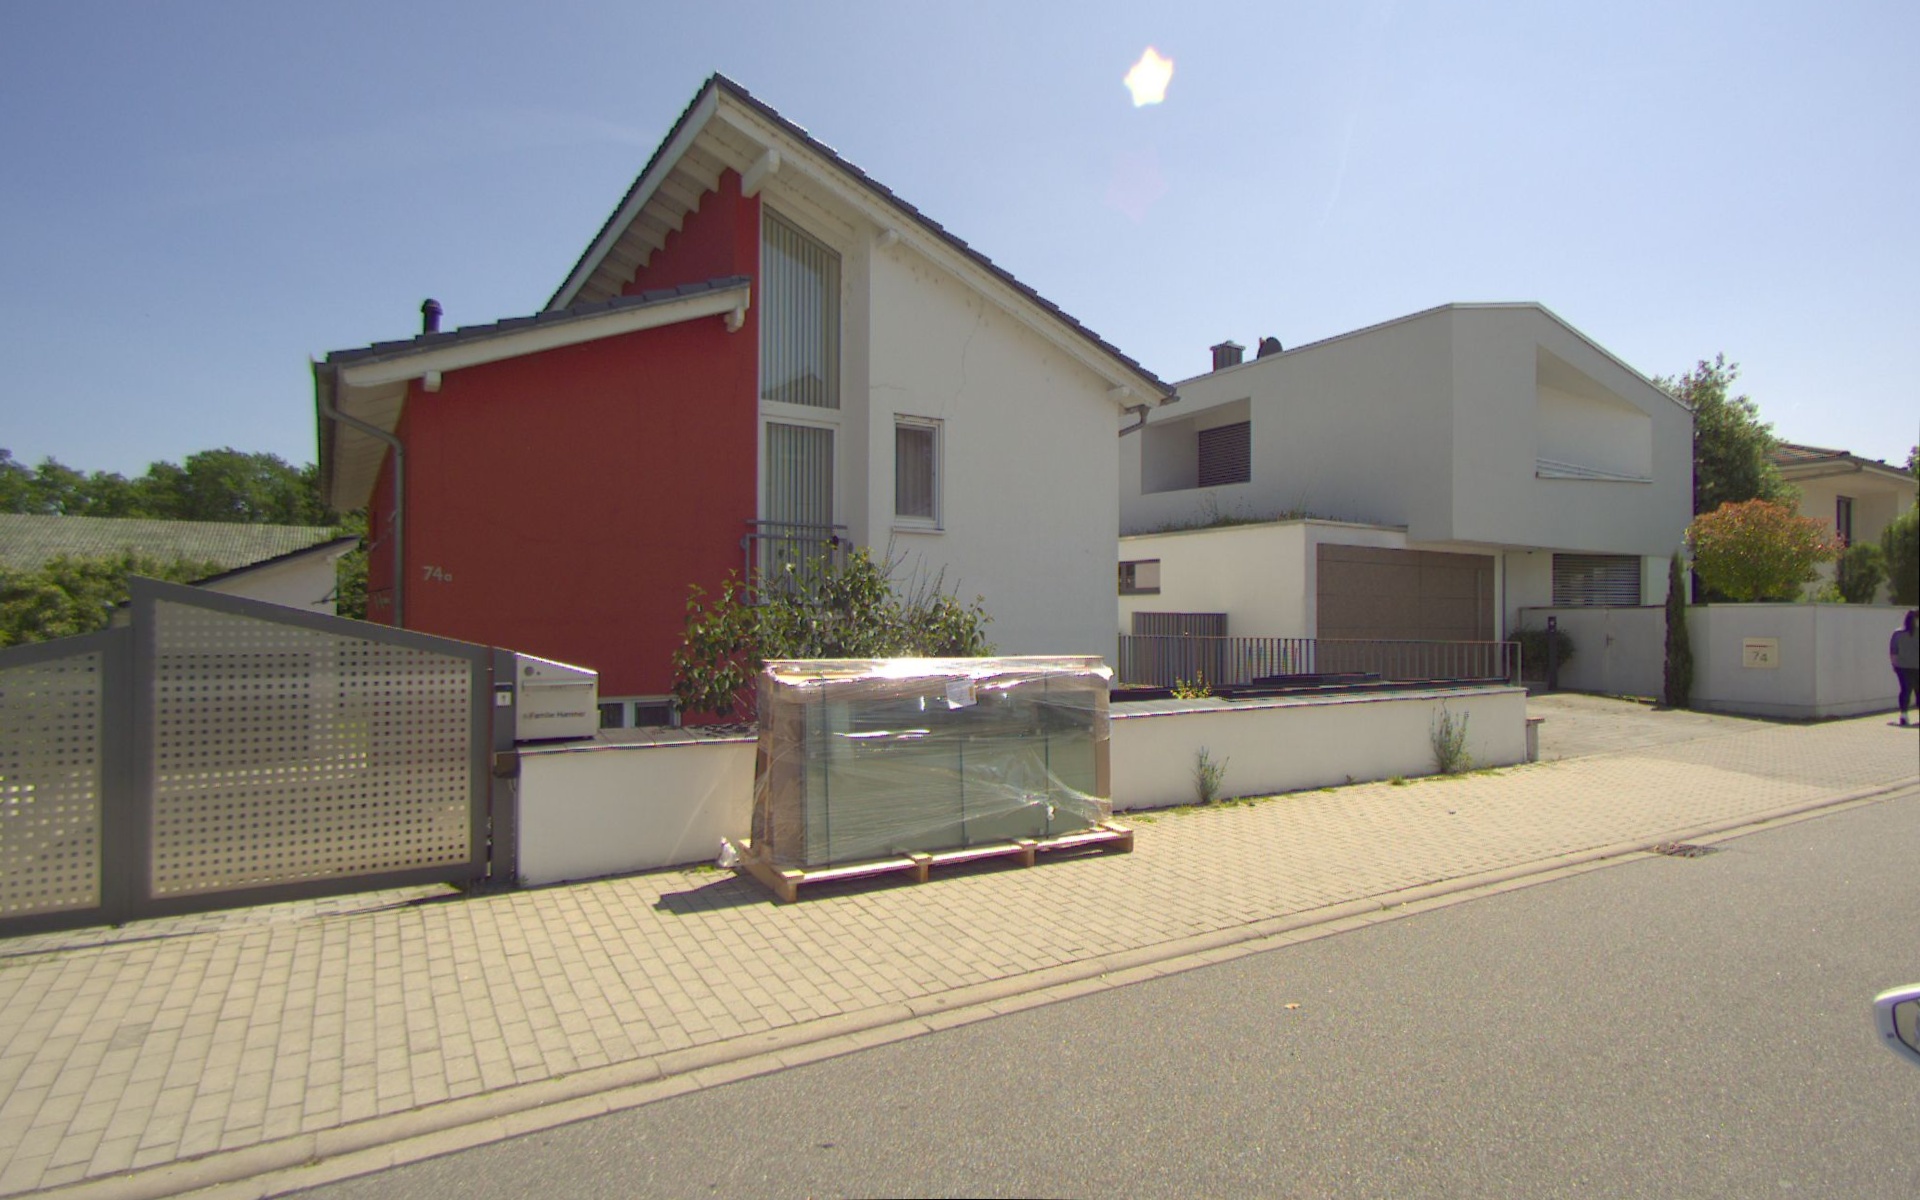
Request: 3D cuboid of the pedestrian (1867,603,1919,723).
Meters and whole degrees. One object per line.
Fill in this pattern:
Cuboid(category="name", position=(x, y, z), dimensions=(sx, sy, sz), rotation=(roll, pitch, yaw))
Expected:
Cuboid(category="pedestrian", position=(14.441, 0.946, 15.294), dimensions=(0.950, 1.770, 0.710), rotation=(1, -1, -32))

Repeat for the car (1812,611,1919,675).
Cuboid(category="car", position=(24.997, 1.164, 25.766), dimensions=(1.827, 1.493, 4.410), rotation=(1, 2, -27))
